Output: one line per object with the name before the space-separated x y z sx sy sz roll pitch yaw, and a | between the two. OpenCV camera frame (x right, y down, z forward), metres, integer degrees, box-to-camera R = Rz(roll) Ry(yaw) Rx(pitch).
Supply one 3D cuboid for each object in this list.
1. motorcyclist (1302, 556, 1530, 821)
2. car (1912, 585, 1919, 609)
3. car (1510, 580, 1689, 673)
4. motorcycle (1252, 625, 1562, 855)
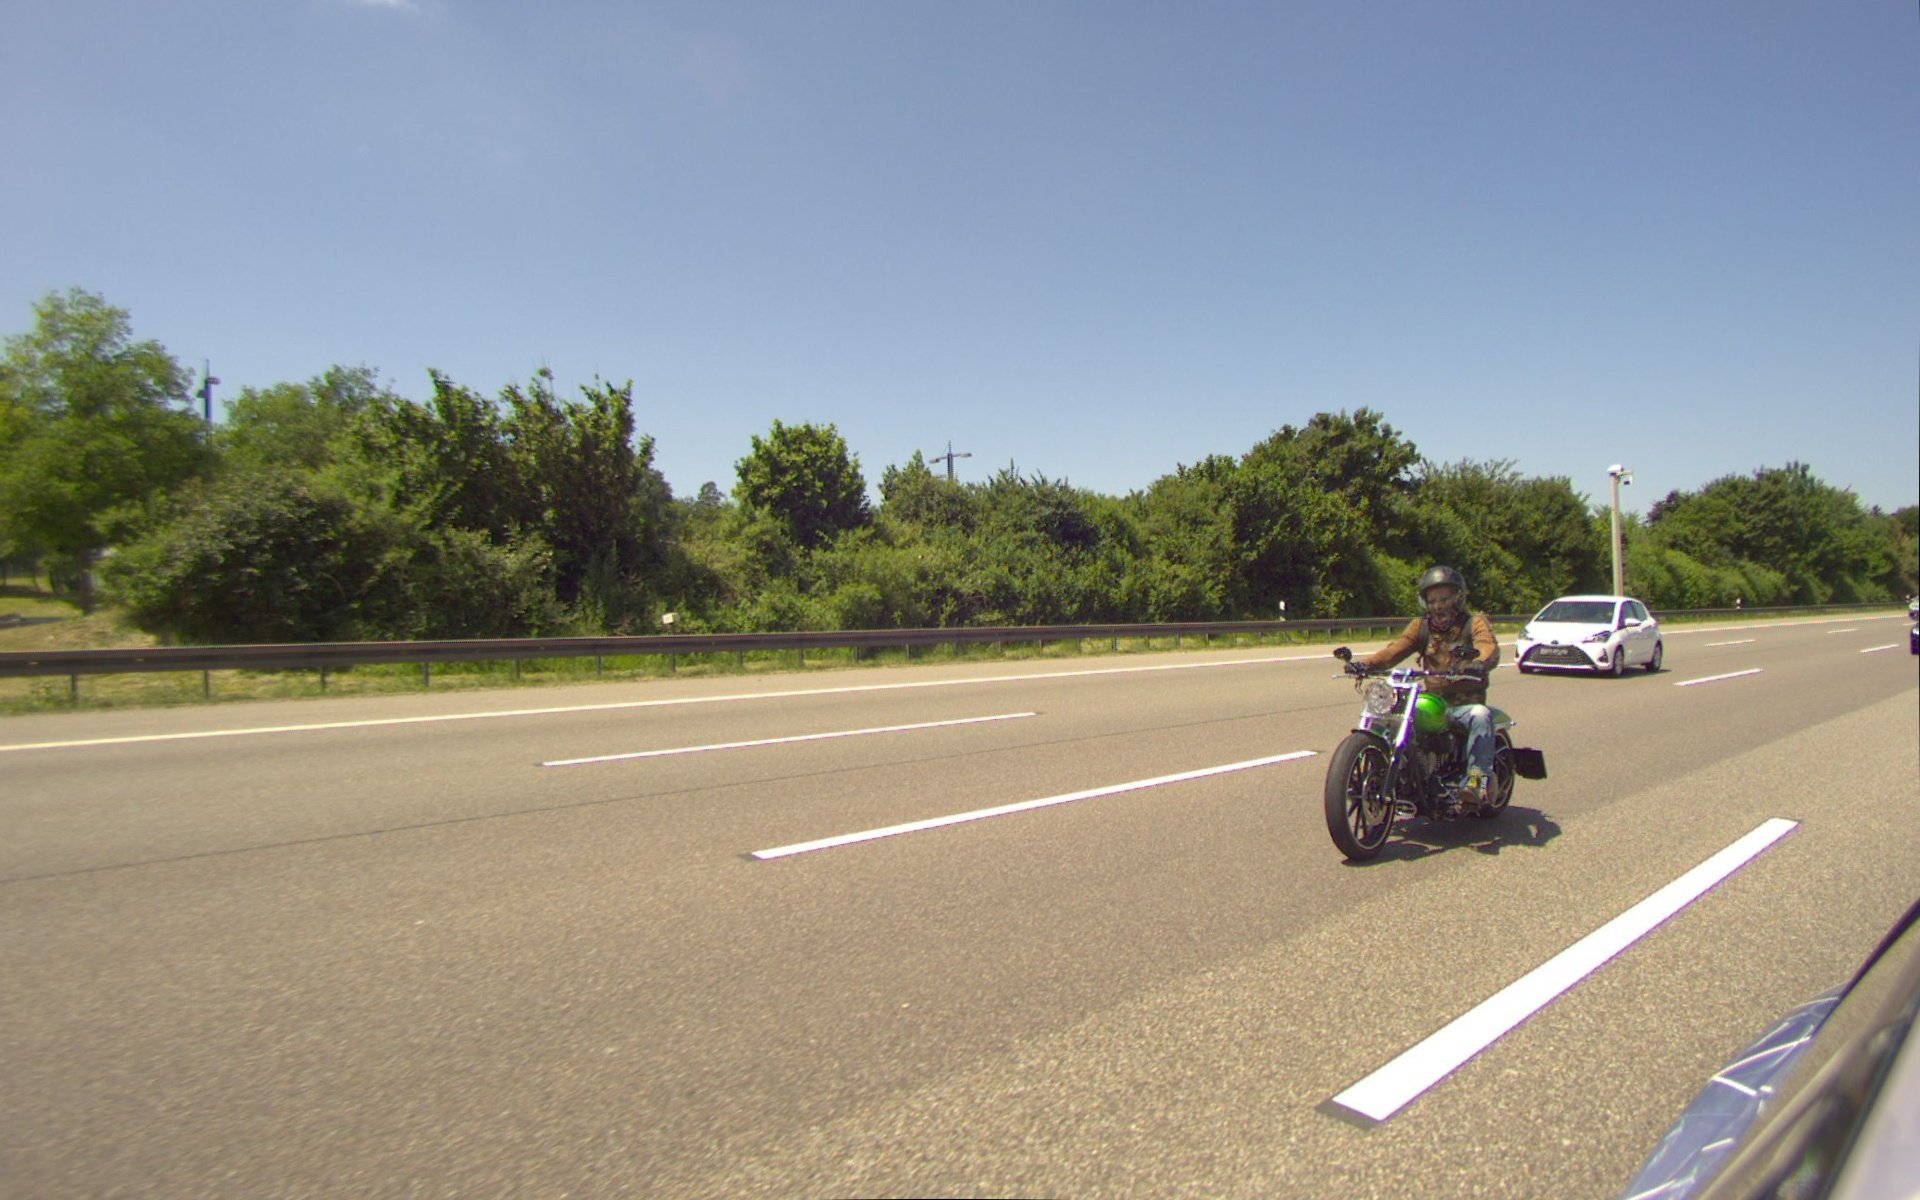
motorcyclist | 2.764 0.472 6.157 1.003 1.445 0.856 0 0 -33
car | 67.338 -0.221 69.808 3.929 1.549 1.998 -2 1 -39
car | 12.631 0.443 19.881 4.406 1.538 1.753 -3 1 -41
motorcycle | 2.812 0.757 6.216 2.389 1.150 0.537 0 1 -34
